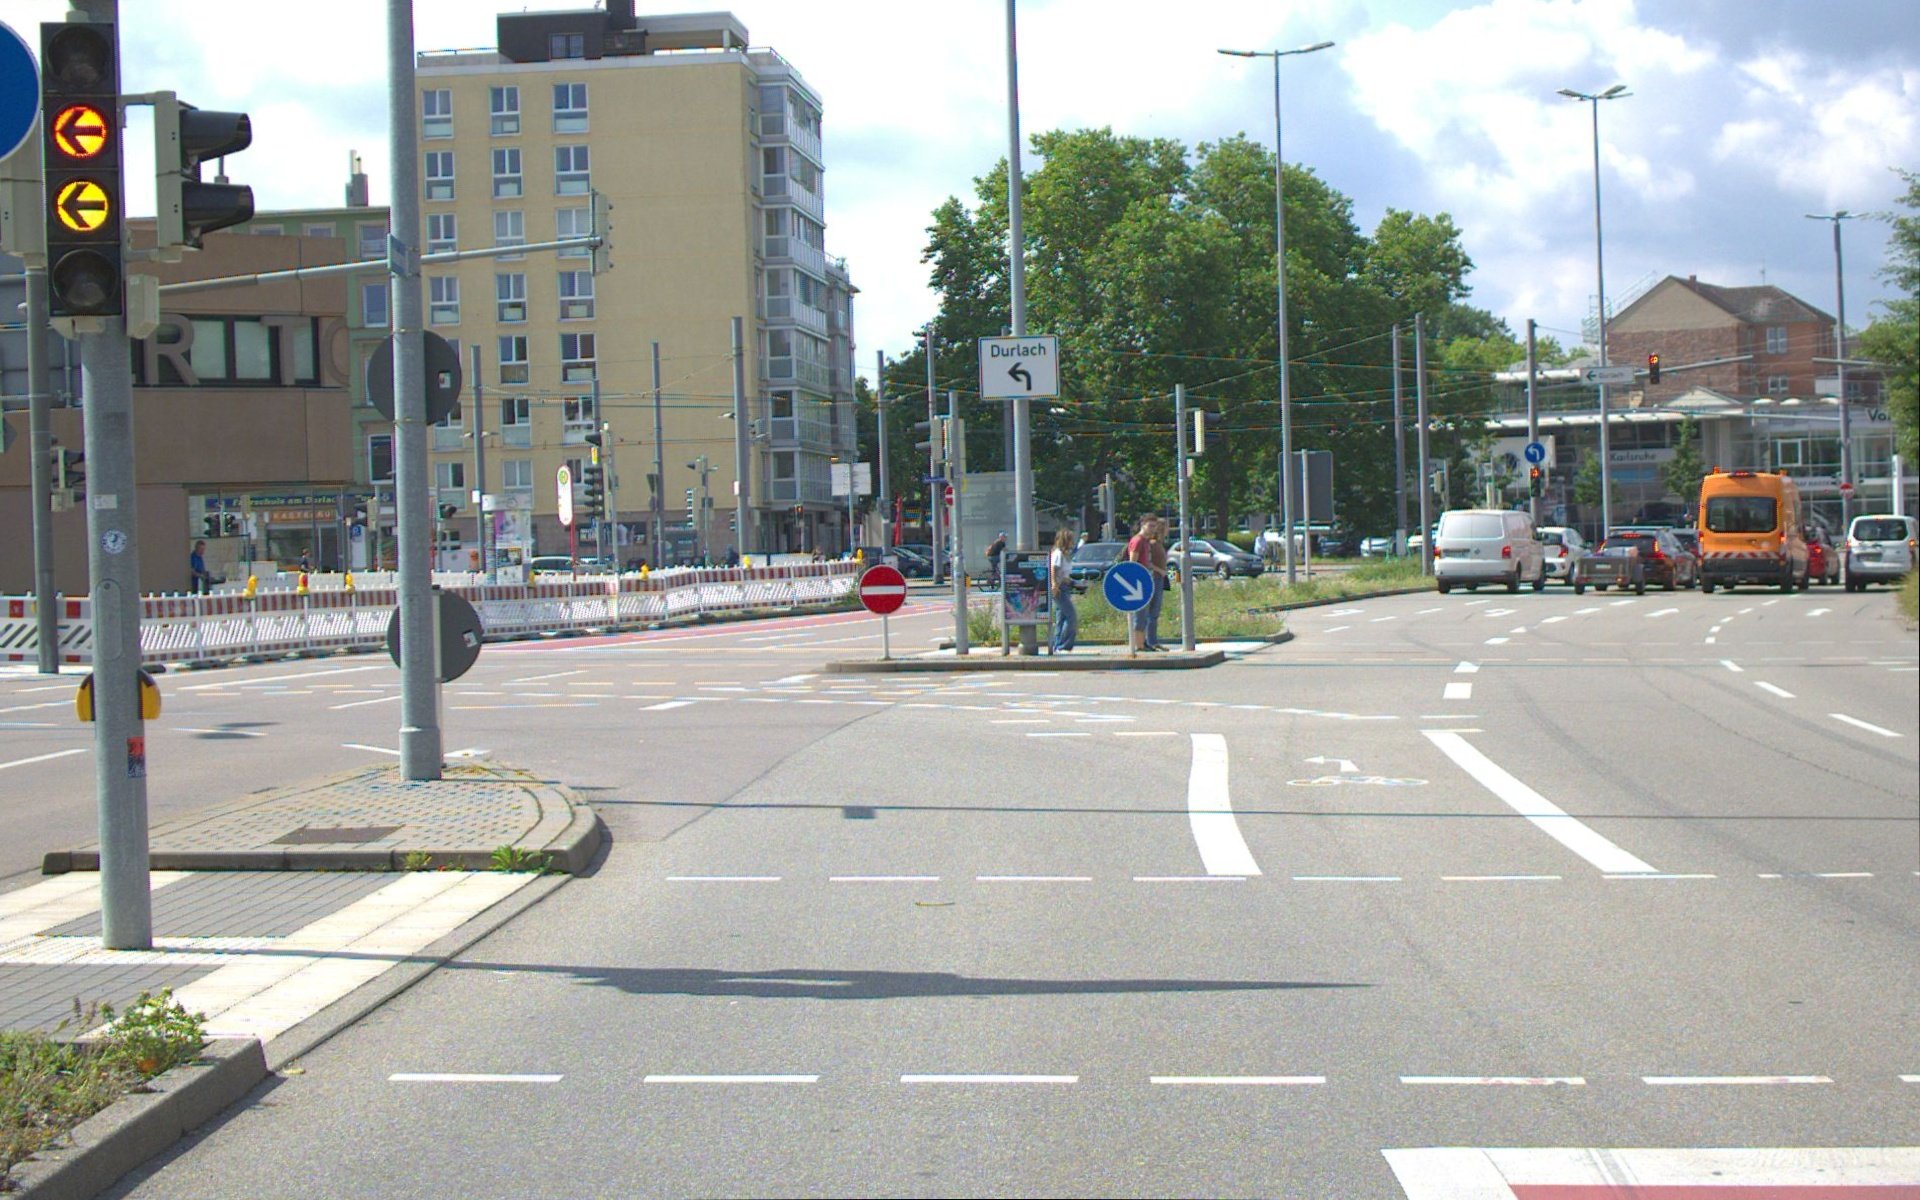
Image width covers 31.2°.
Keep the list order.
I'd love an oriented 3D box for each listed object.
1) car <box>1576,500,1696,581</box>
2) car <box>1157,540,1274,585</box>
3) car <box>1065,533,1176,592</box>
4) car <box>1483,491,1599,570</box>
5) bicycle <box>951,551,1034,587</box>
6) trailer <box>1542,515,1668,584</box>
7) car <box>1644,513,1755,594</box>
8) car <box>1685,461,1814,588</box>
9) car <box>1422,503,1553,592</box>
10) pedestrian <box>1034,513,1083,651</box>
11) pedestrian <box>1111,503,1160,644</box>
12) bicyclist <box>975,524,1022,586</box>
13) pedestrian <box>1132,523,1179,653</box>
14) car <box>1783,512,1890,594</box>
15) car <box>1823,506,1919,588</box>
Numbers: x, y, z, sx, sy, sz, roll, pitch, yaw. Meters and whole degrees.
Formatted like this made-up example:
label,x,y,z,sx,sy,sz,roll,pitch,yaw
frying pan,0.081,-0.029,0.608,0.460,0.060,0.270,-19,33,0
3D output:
label,x,y,z,sx,sy,sz,roll,pitch,yaw
car,16.174,-1.444,82.146,1.996,1.820,3.995,-2,1,23
car,9.001,-1.329,121.190,1.662,1.475,4.060,0,2,-42
car,4.028,-0.955,85.597,1.793,1.383,4.224,-1,1,16
car,15.085,-1.809,89.104,1.994,1.932,4.634,-2,1,22
bicycle,1.009,-0.965,106.511,2.381,1.063,0.858,-1,1,18
trailer,14.826,-1.174,78.910,1.996,1.472,3.995,-2,1,23
car,19.044,-1.210,88.353,1.994,1.932,4.634,-2,1,22
car,18.224,-1.758,79.223,2.132,2.771,4.634,-2,1,22
car,12.520,-1.264,81.390,2.008,1.960,4.634,-2,1,22
pedestrian,1.260,-0.236,43.754,0.525,1.727,0.623,-1,1,7
pedestrian,2.177,-0.329,42.588,0.525,1.727,0.623,-1,1,7
bicyclist,1.189,-1.392,106.444,1.220,1.903,0.858,-1,1,18
pedestrian,2.557,-0.165,44.891,0.525,1.678,0.623,-1,1,7
car,22.252,-1.209,87.173,1.994,1.932,4.634,-2,1,22
car,21.295,-1.241,79.394,1.996,1.788,3.995,-2,1,23
